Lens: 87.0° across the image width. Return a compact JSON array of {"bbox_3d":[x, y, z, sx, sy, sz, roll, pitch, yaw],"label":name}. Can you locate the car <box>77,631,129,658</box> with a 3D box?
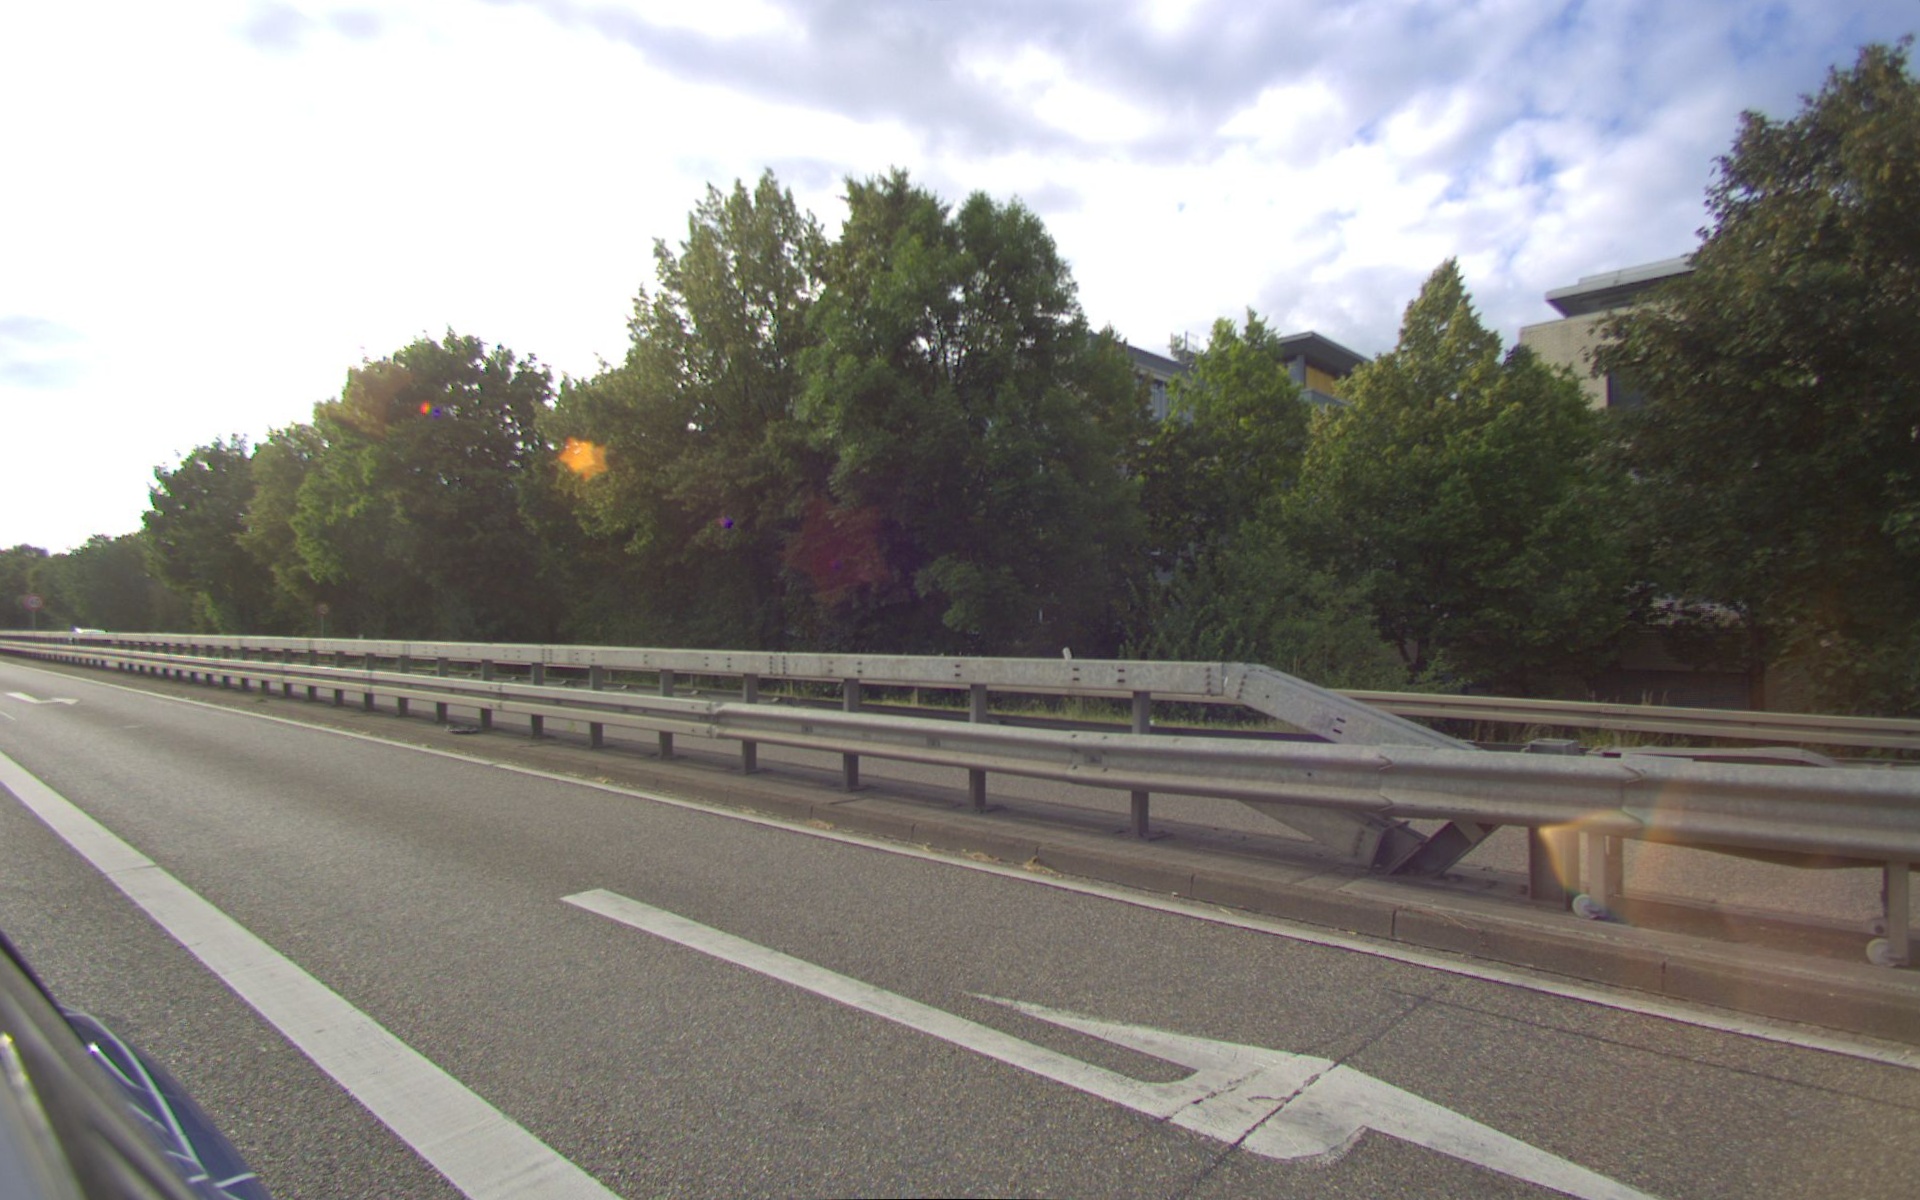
[{"bbox_3d":[-55.354,2.849,65.321,3.997,1.674,1.924,-1,-1,40],"label":"car"}]
